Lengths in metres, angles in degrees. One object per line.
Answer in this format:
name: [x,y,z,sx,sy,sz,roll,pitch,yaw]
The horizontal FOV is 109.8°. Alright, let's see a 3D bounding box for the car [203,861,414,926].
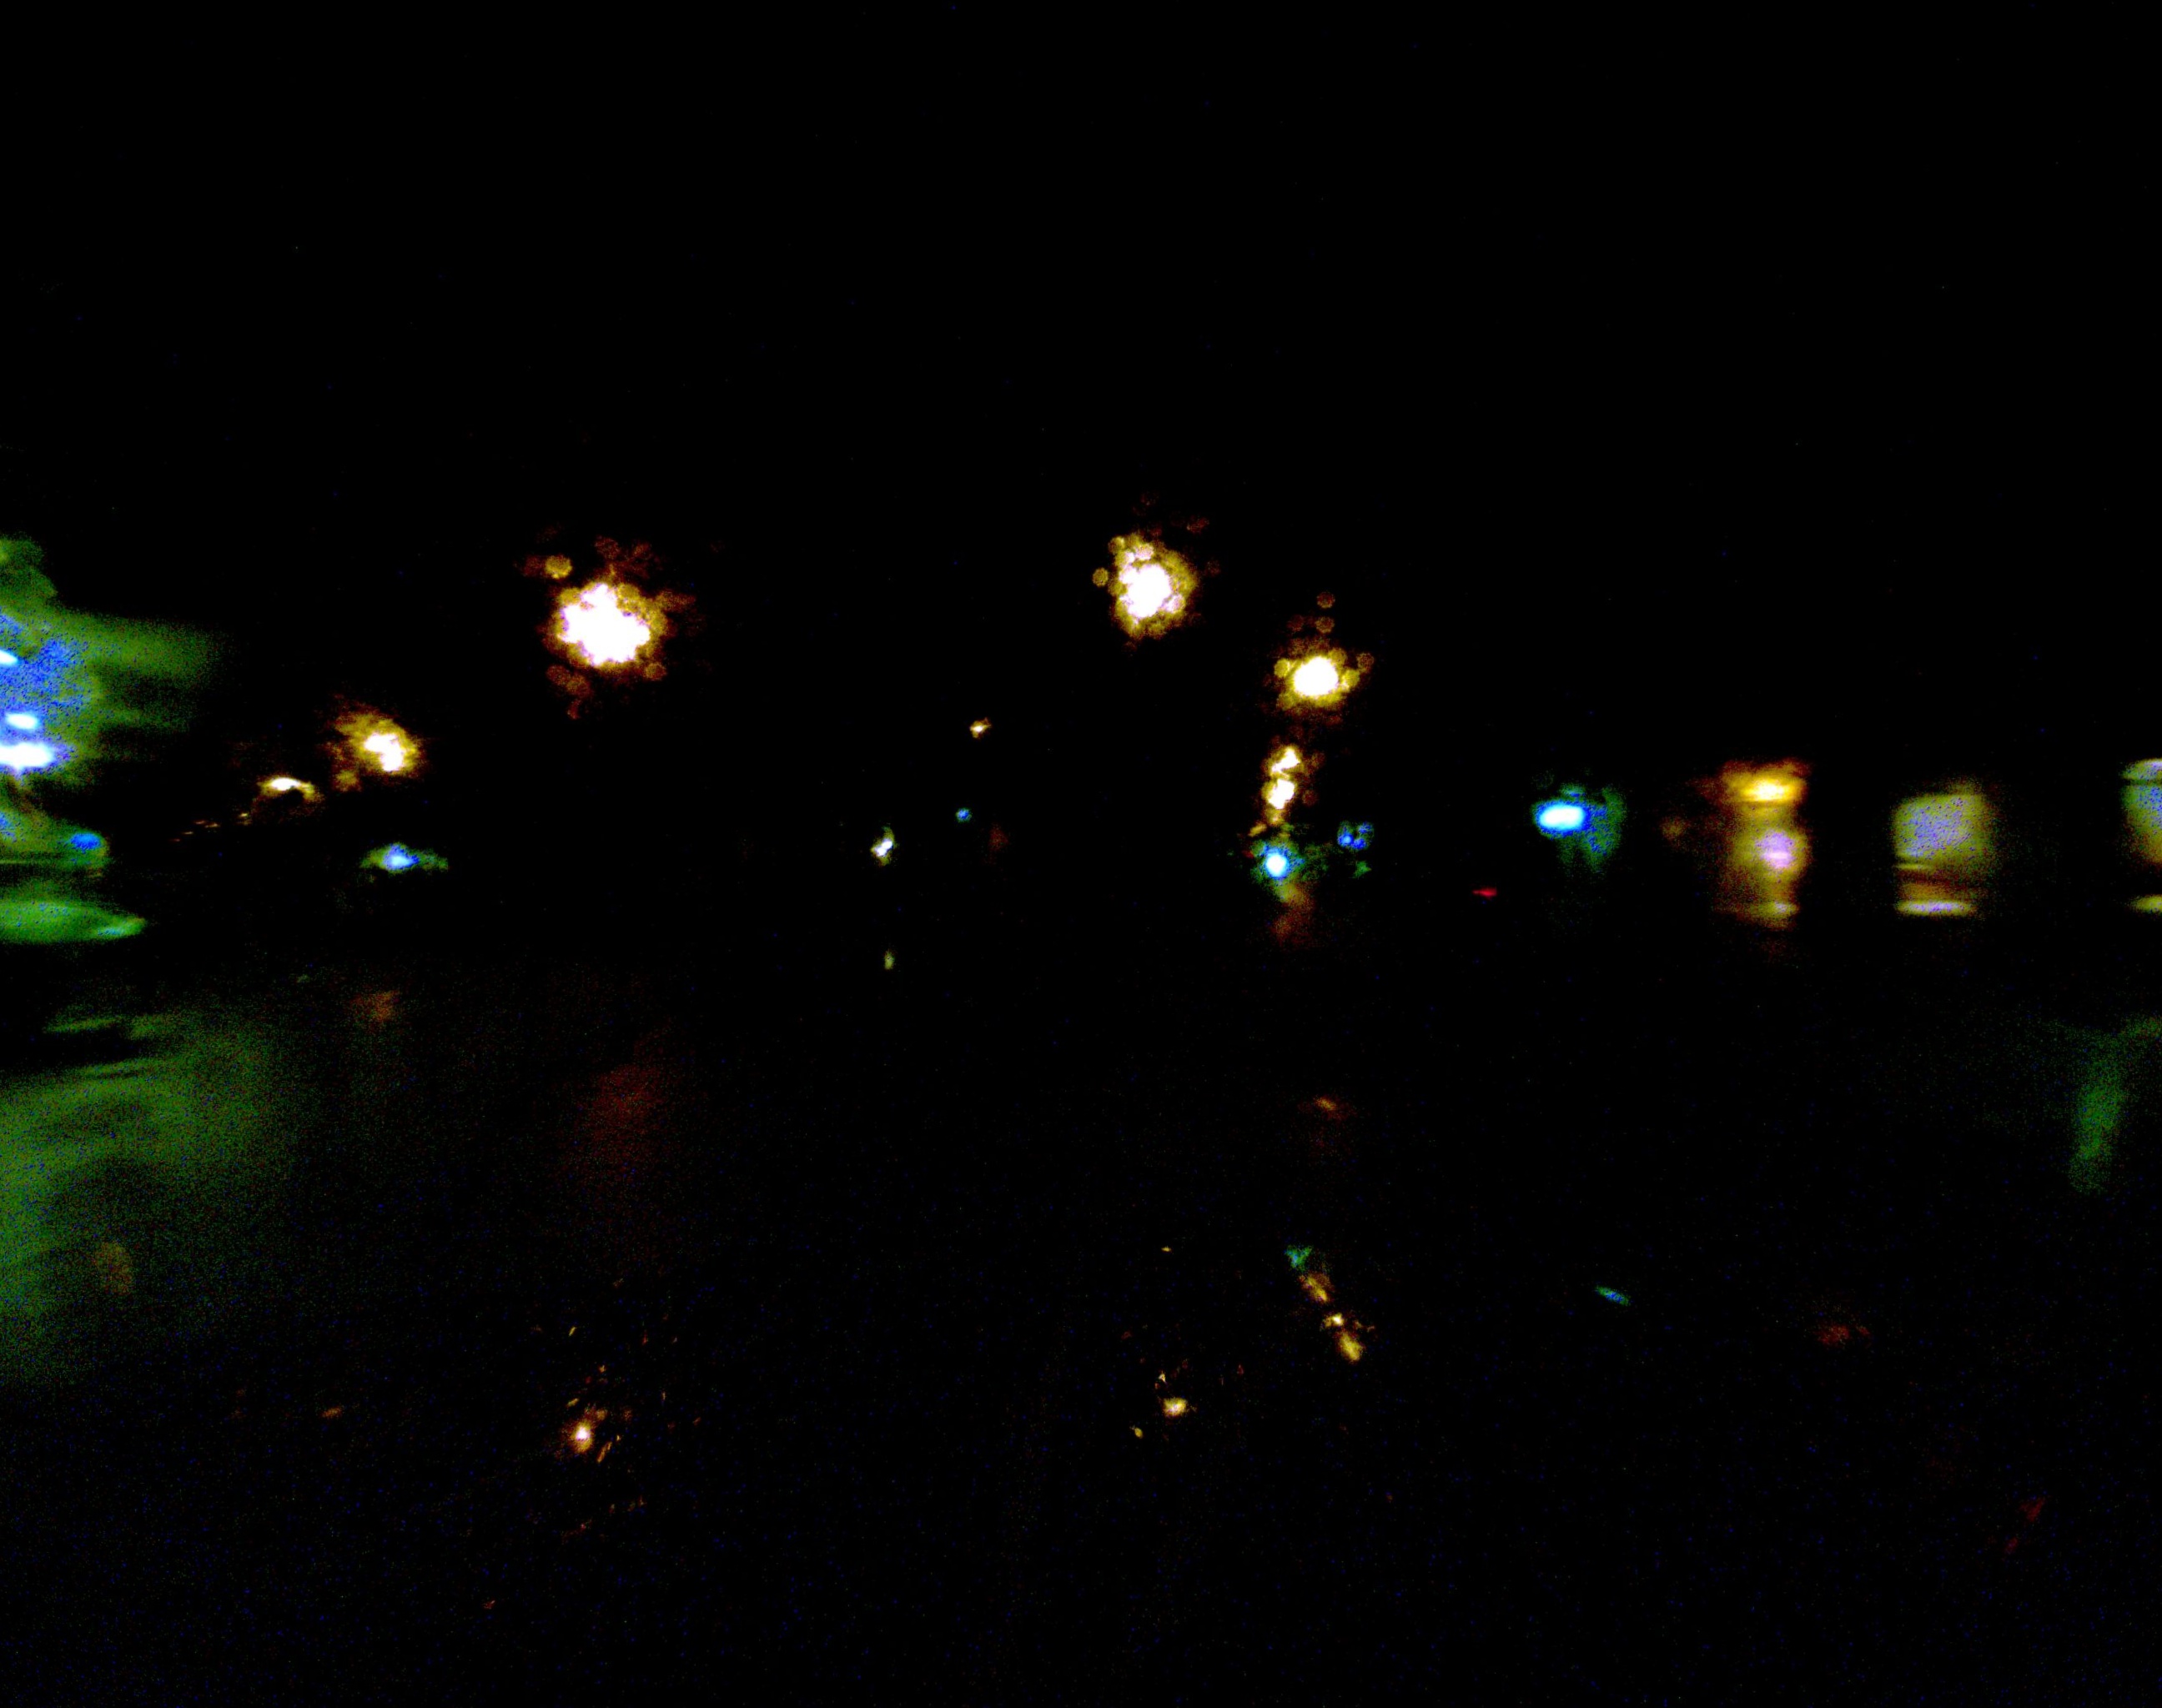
car: [-23.117,1.132,22.991,1.754,1.653,4.111,-3,0,13]

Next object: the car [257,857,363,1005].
car: [-10.186,0.964,10.040,0.961,1.830,0.879,-1,-1,39]

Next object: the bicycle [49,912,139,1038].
bicycle: [-10.404,1.224,8.043,1.643,1.167,0.385,-3,2,42]

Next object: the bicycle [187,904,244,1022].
bicycle: [-9.847,1.187,8.664,1.782,1.167,0.385,-1,0,42]

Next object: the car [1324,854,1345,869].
car: [27.258,0.782,81.753,1.850,1.469,3.739,-2,0,13]

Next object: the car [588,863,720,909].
car: [-18.310,1.327,32.764,1.994,1.752,4.472,-2,-1,37]

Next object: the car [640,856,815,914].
car: [-12.887,1.063,28.114,1.994,1.878,5.559,-2,-1,37]

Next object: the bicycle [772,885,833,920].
bicycle: [-8.635,1.487,23.616,0.402,1.002,1.814,-1,-1,38]

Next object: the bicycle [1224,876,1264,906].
bicycle: [5.774,1.291,27.051,0.336,1.020,1.642,0,-1,-33]

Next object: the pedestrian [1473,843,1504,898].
pedestrian: [13.405,0.544,25.024,0.827,1.760,0.601,-2,0,26]

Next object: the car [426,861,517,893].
car: [-37.231,1.394,46.469,1.995,1.761,4.008,-3,0,43]

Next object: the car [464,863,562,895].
car: [-31.417,1.353,42.092,1.995,1.543,4.008,-3,0,43]

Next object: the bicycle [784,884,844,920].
bicycle: [-8.168,1.448,23.309,0.402,1.002,1.814,-1,-1,38]

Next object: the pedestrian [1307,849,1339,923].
pedestrian: [6.147,0.805,19.343,0.675,1.821,1.079,-2,0,16]

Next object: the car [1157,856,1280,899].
car: [5.272,0.882,29.264,4.265,1.564,1.769,1,0,-15]

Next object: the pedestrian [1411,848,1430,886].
pedestrian: [20.481,0.786,45.854,0.800,2.228,1.117,-1,0,12]

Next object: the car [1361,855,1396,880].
car: [19.380,0.877,49.607,1.718,1.469,3.790,-2,0,16]

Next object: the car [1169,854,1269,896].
car: [5.838,0.866,32.222,3.744,1.702,1.768,1,0,-21]

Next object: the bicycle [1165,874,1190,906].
bicycle: [3.370,1.230,26.587,0.336,1.020,1.644,0,1,-12]

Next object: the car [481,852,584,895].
car: [-29.157,1.019,40.461,1.995,2.002,4.008,-3,0,43]

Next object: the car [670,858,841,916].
car: [-11.166,1.059,26.446,1.994,1.752,5.107,-2,-1,37]

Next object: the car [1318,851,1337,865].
car: [30.215,0.501,93.051,1.850,1.571,3.739,-2,0,13]

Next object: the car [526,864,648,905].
car: [-23.800,1.443,36.746,1.994,1.752,4.472,-2,-1,37]

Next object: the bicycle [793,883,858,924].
bicycle: [-7.395,1.424,22.068,0.402,1.003,1.813,-2,2,38]

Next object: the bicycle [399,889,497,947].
bicycle: [-13.838,1.397,16.623,1.962,1.169,0.452,-3,0,11]

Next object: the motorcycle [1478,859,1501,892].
motorcycle: [18.586,0.955,34.575,0.537,1.462,1.459,-2,0,13]

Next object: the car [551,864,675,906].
car: [-21.827,1.418,35.607,1.994,1.752,4.472,-2,-1,37]

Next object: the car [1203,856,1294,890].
car: [8.276,0.943,37.603,4.077,1.588,1.830,1,0,-21]

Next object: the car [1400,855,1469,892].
car: [15.750,0.821,34.090,1.849,1.470,5.036,-1,0,14]

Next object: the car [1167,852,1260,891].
car: [6.059,0.803,34.728,3.797,1.702,1.745,1,0,-21]

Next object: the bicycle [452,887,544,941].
bicycle: [-13.663,1.400,17.808,1.962,1.169,0.452,-3,0,11]

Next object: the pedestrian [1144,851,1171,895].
pedestrian: [3.291,0.804,32.702,0.789,1.807,0.812,1,2,38]

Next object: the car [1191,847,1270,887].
car: [7.899,0.694,40.225,3.744,2.017,1.718,1,0,-21]

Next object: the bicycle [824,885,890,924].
bicycle: [-6.190,1.378,21.042,0.454,1.002,1.814,-1,-1,38]

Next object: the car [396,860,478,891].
car: [-43.849,1.451,51.803,1.994,2.002,4.009,-1,-1,40]

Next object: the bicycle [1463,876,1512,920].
bicycle: [10.617,1.118,19.894,0.713,1.053,1.804,-1,0,15]

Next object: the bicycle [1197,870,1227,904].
bicycle: [4.562,1.144,26.498,0.336,1.021,1.643,-2,4,-16]

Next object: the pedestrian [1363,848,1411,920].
pedestrian: [8.193,0.789,20.423,0.957,1.852,1.416,-1,0,12]

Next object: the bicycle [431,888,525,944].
bicycle: [-13.731,1.403,17.304,1.962,1.169,0.452,-3,0,11]

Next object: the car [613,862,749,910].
car: [-16.305,1.269,31.153,1.994,1.752,4.472,-2,-1,37]

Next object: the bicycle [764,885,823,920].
bicycle: [-9.058,1.511,24.015,0.402,1.002,1.781,-1,-1,38]

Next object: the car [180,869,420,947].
car: [-19.017,1.257,18.755,1.754,1.568,3.696,-3,0,13]

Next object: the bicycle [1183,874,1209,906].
bicycle: [4.035,1.252,26.698,0.336,1.086,1.644,0,-1,-12]

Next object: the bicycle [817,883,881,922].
bicycle: [-6.552,1.360,21.548,0.402,1.002,1.814,-1,-1,38]

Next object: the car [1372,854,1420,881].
car: [18.286,0.750,44.271,1.719,1.470,4.163,-1,0,10]

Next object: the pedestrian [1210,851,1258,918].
pedestrian: [4.310,0.836,21.364,0.986,1.823,0.876,-2,1,-40]

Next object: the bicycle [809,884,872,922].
bicycle: [-6.907,1.377,21.865,0.378,1.002,1.814,-1,-1,38]

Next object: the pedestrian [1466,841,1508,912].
pedestrian: [10.621,0.583,19.904,0.713,1.801,1.127,0,0,14]

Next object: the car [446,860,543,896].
car: [-33.372,1.340,43.295,1.995,1.763,4.008,-3,0,43]

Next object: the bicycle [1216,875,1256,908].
bicycle: [5.431,1.300,26.757,0.336,1.021,1.642,0,2,-31]

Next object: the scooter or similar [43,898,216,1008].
scooter or similar: [-11.865,1.192,9.534,0.525,1.222,1.316,-2,-1,43]

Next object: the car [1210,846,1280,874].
car: [12.291,0.460,56.999,4.715,1.968,1.976,1,0,-16]
